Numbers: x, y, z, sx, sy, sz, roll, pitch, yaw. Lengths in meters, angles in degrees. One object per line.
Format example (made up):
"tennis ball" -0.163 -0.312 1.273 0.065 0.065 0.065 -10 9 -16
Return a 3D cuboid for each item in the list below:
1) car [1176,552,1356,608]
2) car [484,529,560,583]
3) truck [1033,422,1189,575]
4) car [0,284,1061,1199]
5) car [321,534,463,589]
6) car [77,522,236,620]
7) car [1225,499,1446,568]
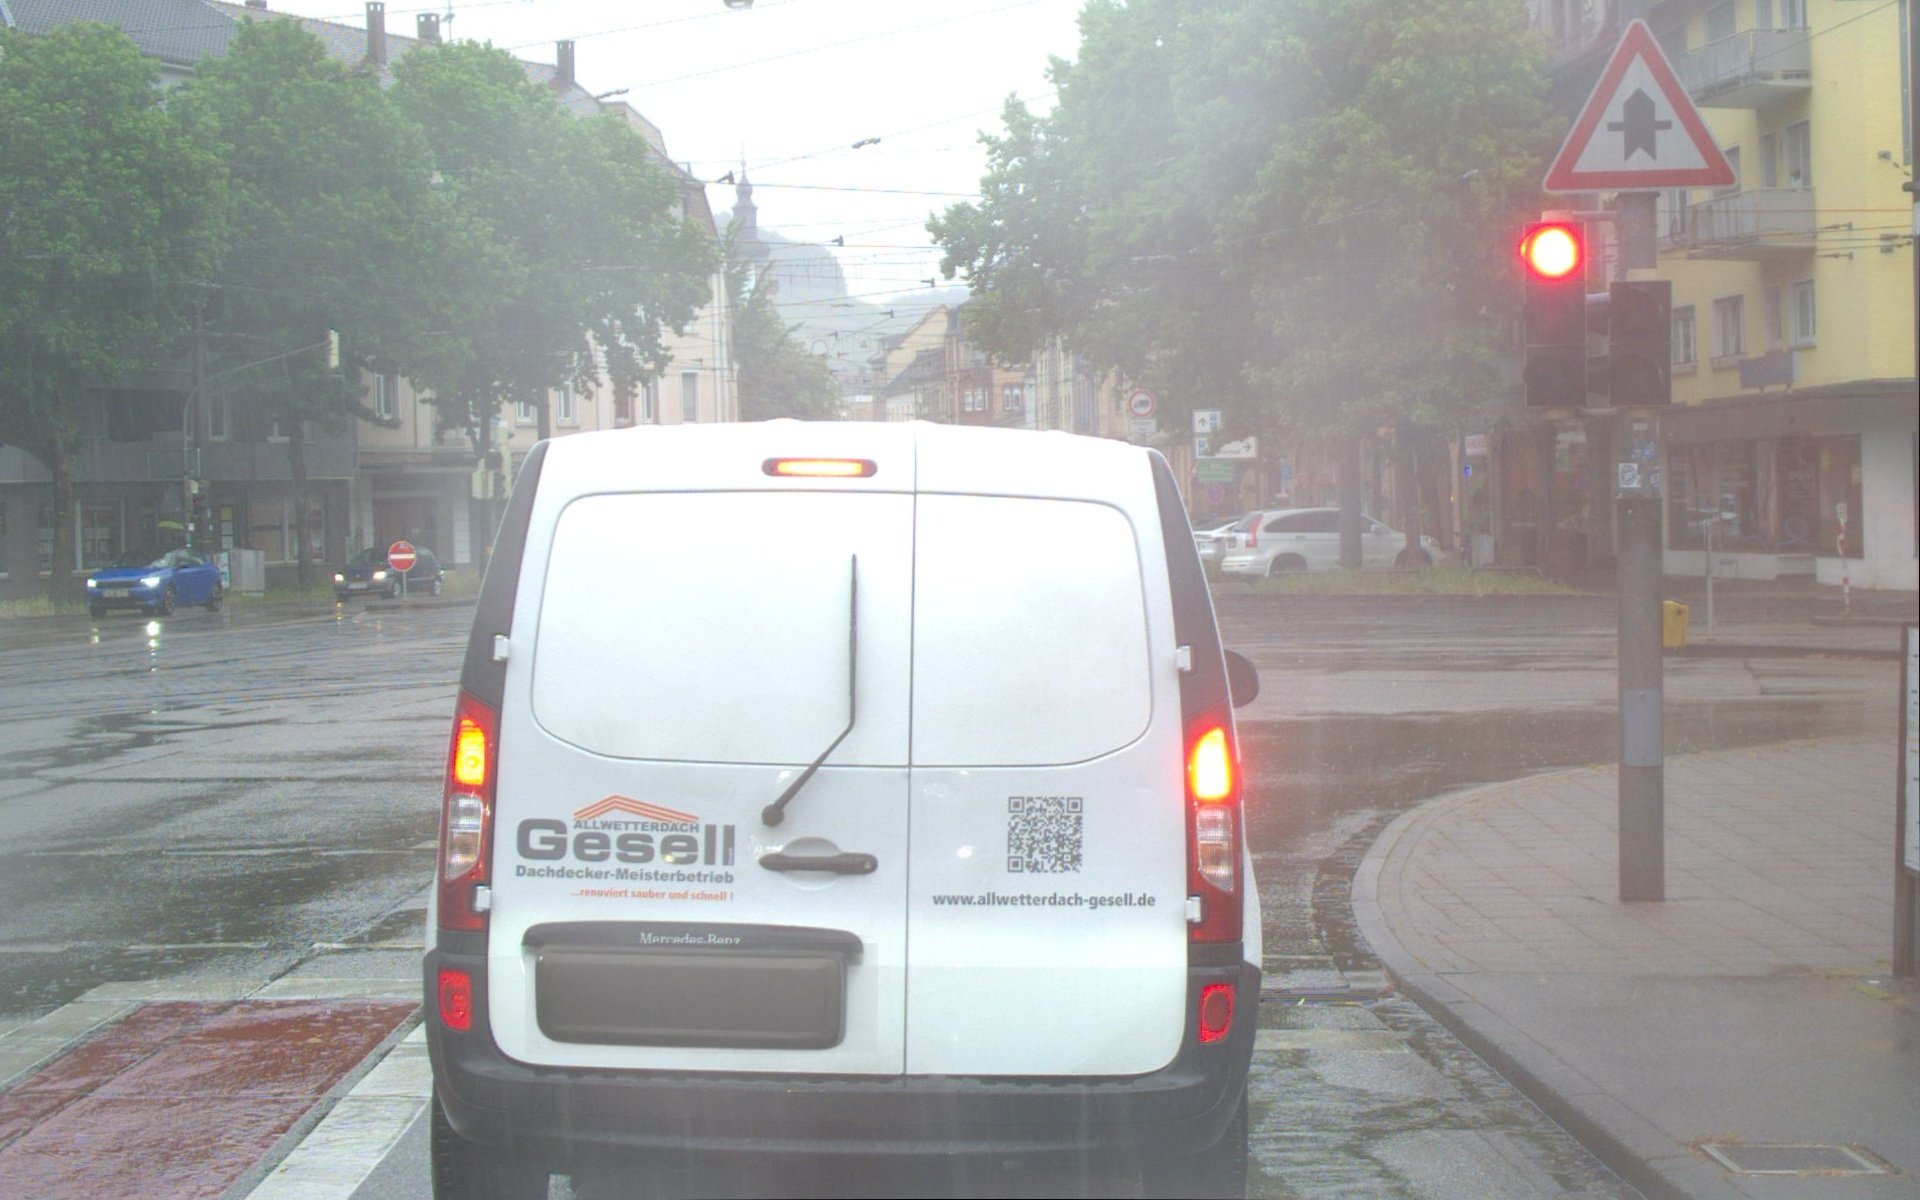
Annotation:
"car" 6.280 -0.421 70.727 3.441 1.126 1.472 0 1 -8
"car" -12.897 -1.306 101.358 1.783 1.546 4.000 0 1 -1
"truck" 5.516 -3.493 121.848 3.471 5.070 15.301 0 1 10
"car" -0.893 0.389 8.938 2.100 2.005 4.963 0 1 -1
"car" -14.135 -0.974 85.755 1.952 1.235 3.997 0 2 16
"car" -16.902 -0.629 72.500 1.994 2.007 3.999 0 1 8
"car" 7.517 -1.345 68.974 4.165 1.334 1.521 -1 2 -7
